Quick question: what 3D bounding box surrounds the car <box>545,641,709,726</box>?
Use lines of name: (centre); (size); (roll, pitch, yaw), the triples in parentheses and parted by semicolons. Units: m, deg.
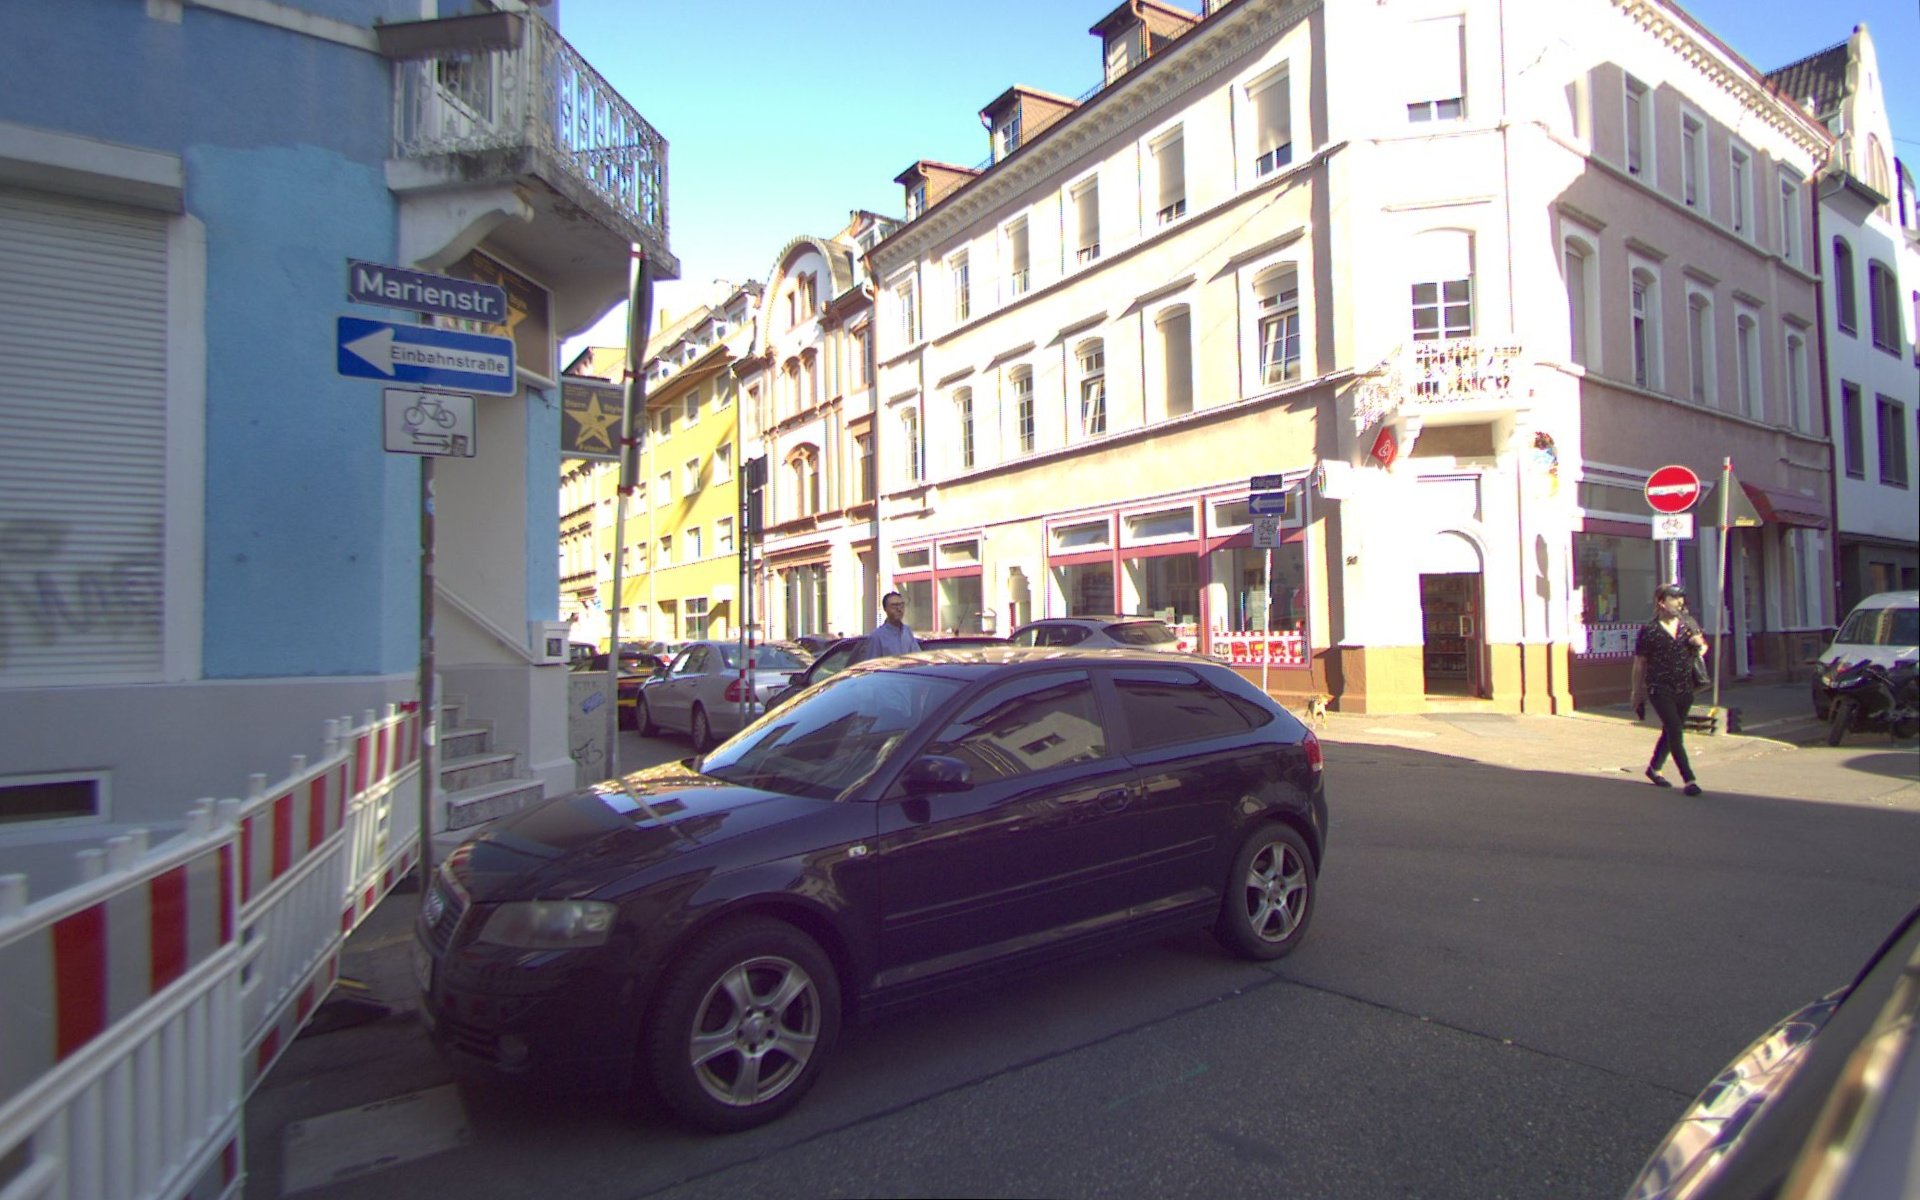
car: (-6.023, 1.417, 17.973); (1.723, 1.244, 4.164); (-1, -2, -33)

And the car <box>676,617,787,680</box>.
car: (-6.584, 1.380, 28.831); (1.719, 1.532, 3.915); (-4, 0, -33)

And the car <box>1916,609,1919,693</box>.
car: (18.263, 0.826, 17.602); (3.808, 1.426, 1.614); (-1, 0, -35)

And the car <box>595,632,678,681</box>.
car: (-11.601, 2.005, 36.151); (1.719, 1.532, 3.915); (-4, 0, -33)

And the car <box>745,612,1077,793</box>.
car: (-0.702, 0.941, 10.444); (1.644, 1.472, 3.879); (0, -3, -34)

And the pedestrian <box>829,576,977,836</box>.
pedestrian: (-0.447, 0.779, 7.862); (0.767, 1.873, 0.769); (0, -4, -43)

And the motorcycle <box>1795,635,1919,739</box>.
motorcycle: (11.147, 1.023, 12.289); (1.955, 1.100, 0.722); (-2, -1, -24)

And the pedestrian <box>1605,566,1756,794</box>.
pedestrian: (6.134, 0.630, 8.677); (0.818, 1.815, 0.983); (0, 0, 22)

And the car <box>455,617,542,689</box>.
car: (-13.886, 1.586, 30.331); (1.800, 1.972, 4.553); (0, -3, -32)

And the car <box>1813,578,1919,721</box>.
car: (13.921, 0.602, 14.330); (4.287, 1.840, 1.754); (-1, 0, -35)

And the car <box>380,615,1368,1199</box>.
car: (-0.197, 0.863, 4.457); (3.957, 1.453, 1.776); (-1, -3, -35)

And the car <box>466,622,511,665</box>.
car: (-29.305, 2.696, 62.848); (1.811, 2.462, 3.915); (-4, 0, -33)

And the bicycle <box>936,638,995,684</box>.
bicycle: (0.111, 1.426, 23.680); (0.447, 1.022, 1.644); (-1, -3, -36)

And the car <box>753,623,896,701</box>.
car: (-3.264, 1.428, 23.742); (1.719, 1.532, 3.915); (-4, 0, -33)

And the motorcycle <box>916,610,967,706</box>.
motorcycle: (-0.329, 1.073, 19.188); (0.835, 1.670, 2.334); (-3, -2, 0)

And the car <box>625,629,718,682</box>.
car: (-9.380, 1.790, 32.762); (1.719, 1.471, 3.915); (-4, 0, -33)

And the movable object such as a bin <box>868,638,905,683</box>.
movable object such as a bin: (-1.910, 1.567, 26.231); (0.654, 1.131, 0.717); (-1, -3, -33)

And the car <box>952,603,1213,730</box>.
car: (1.787, 1.004, 16.040); (1.821, 1.653, 4.072); (-3, -1, -33)

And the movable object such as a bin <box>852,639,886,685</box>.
movable object such as a bin: (-2.425, 1.649, 26.933); (0.667, 1.173, 0.569); (-1, -3, -36)

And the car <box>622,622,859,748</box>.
car: (-3.196, 1.097, 14.004); (1.722, 1.453, 4.484); (2, -4, -33)

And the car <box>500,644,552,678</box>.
car: (-22.498, 3.159, 52.435); (1.719, 1.532, 3.915); (-4, 0, -33)

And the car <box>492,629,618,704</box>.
car: (-9.034, 1.439, 22.407); (1.723, 1.496, 3.979); (2, -4, -35)

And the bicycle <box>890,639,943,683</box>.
bicycle: (-1.090, 1.511, 25.009); (0.447, 1.022, 1.643); (-1, -3, -36)
